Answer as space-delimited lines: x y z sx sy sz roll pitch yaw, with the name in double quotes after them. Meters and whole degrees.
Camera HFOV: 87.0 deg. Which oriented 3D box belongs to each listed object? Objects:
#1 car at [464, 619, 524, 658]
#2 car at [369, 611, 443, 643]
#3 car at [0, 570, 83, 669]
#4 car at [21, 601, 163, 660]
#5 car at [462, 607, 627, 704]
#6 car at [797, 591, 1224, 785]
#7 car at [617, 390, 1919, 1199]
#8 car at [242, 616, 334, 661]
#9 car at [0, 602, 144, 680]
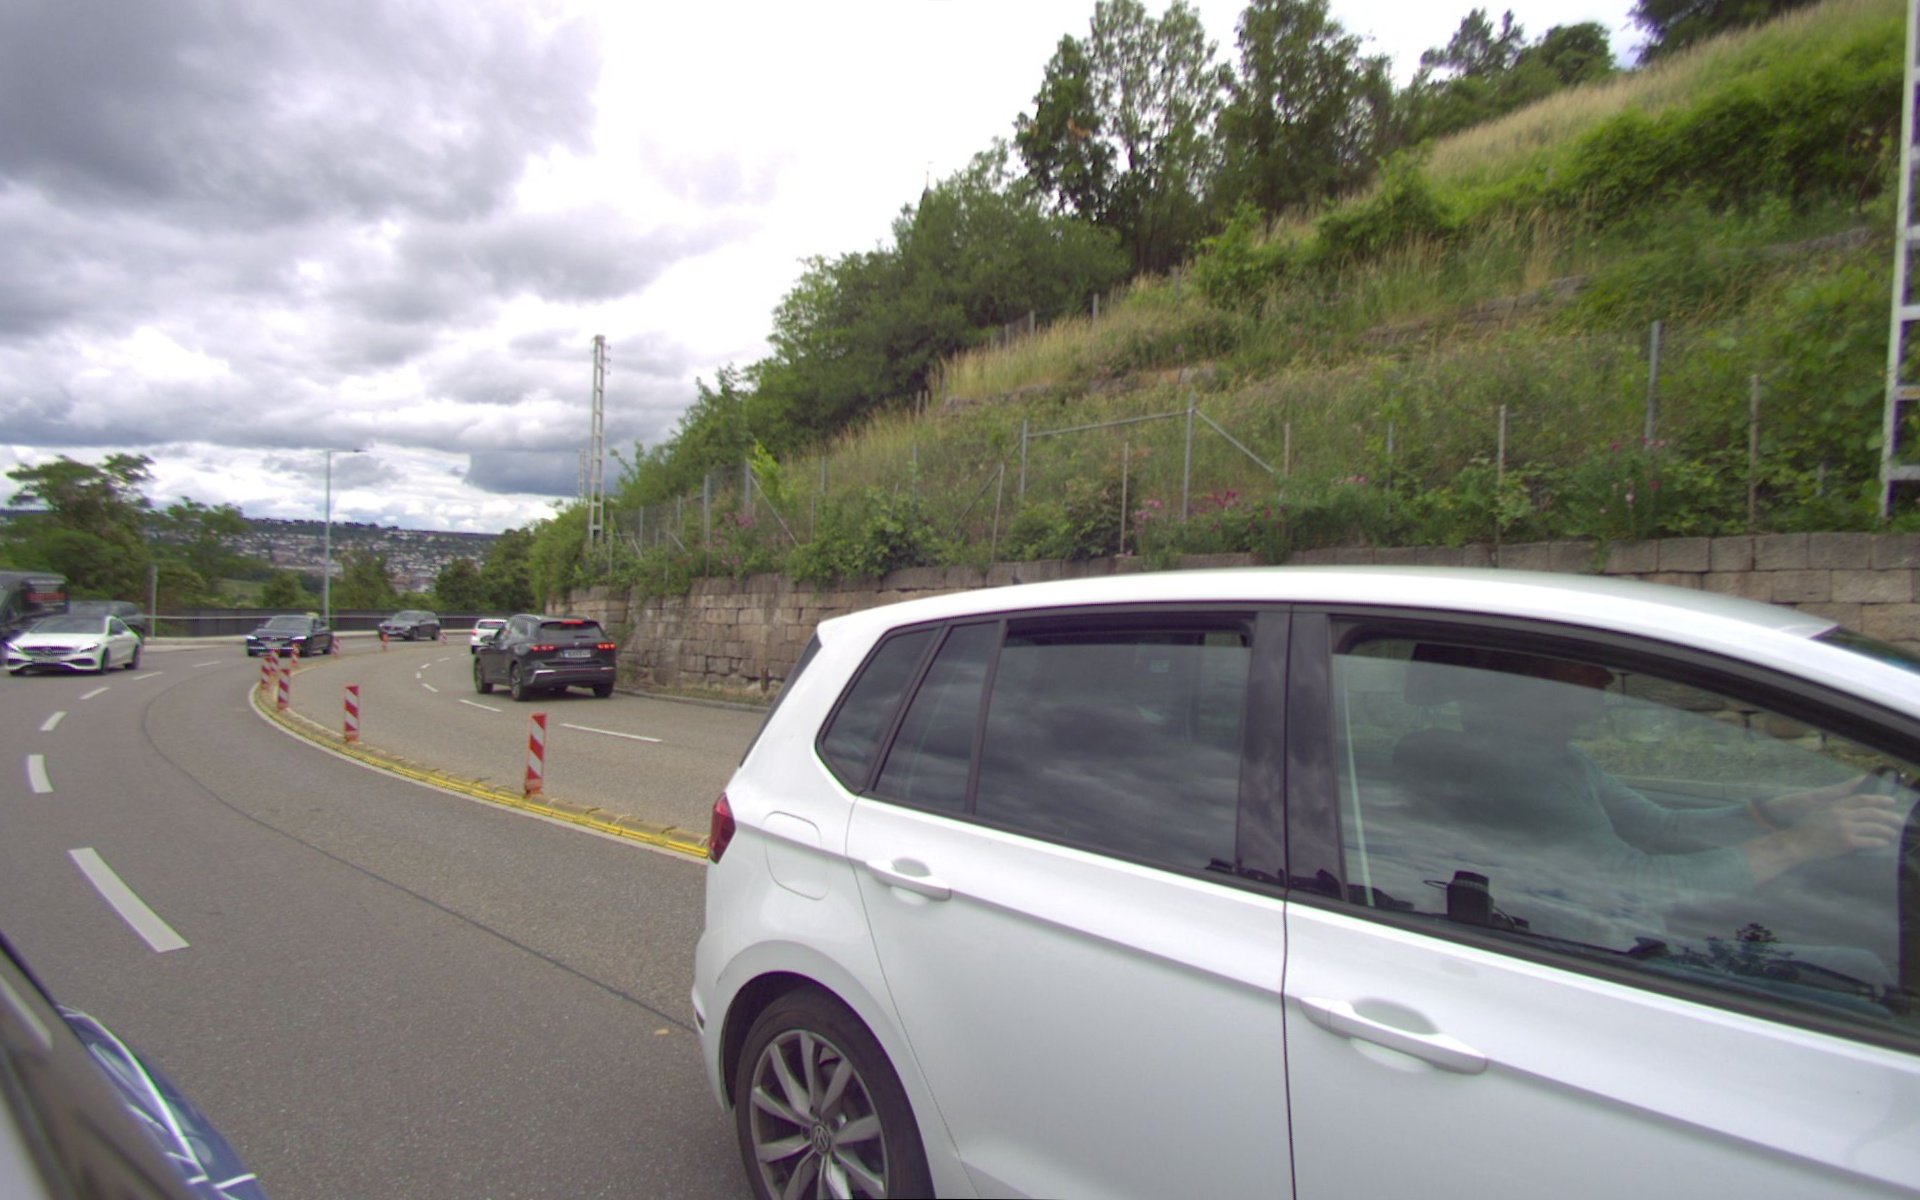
-21.019 1.714 45.806 1.678 1.560 4.011 3 -1 -14 "car"
-30.893 1.492 56.602 1.970 1.684 4.542 0 -1 -5 "car"
-26.478 0.472 27.563 2.136 2.541 5.790 5 -3 -24 "car"
-28.990 0.964 34.019 1.965 1.731 5.066 4 -2 -21 "car"
-8.508 1.088 20.494 1.820 1.739 4.470 2 -3 -40 "car"
0.373 0.790 10.737 4.347 1.636 1.844 -2 -1 42 "car"
1.347 0.621 1.814 4.354 1.592 1.801 -1 -3 42 "car"
-24.153 1.367 36.531 1.869 1.505 4.155 2 -2 -21 "car"
-21.720 0.979 24.752 1.965 1.731 4.013 2 -2 -28 "car"
